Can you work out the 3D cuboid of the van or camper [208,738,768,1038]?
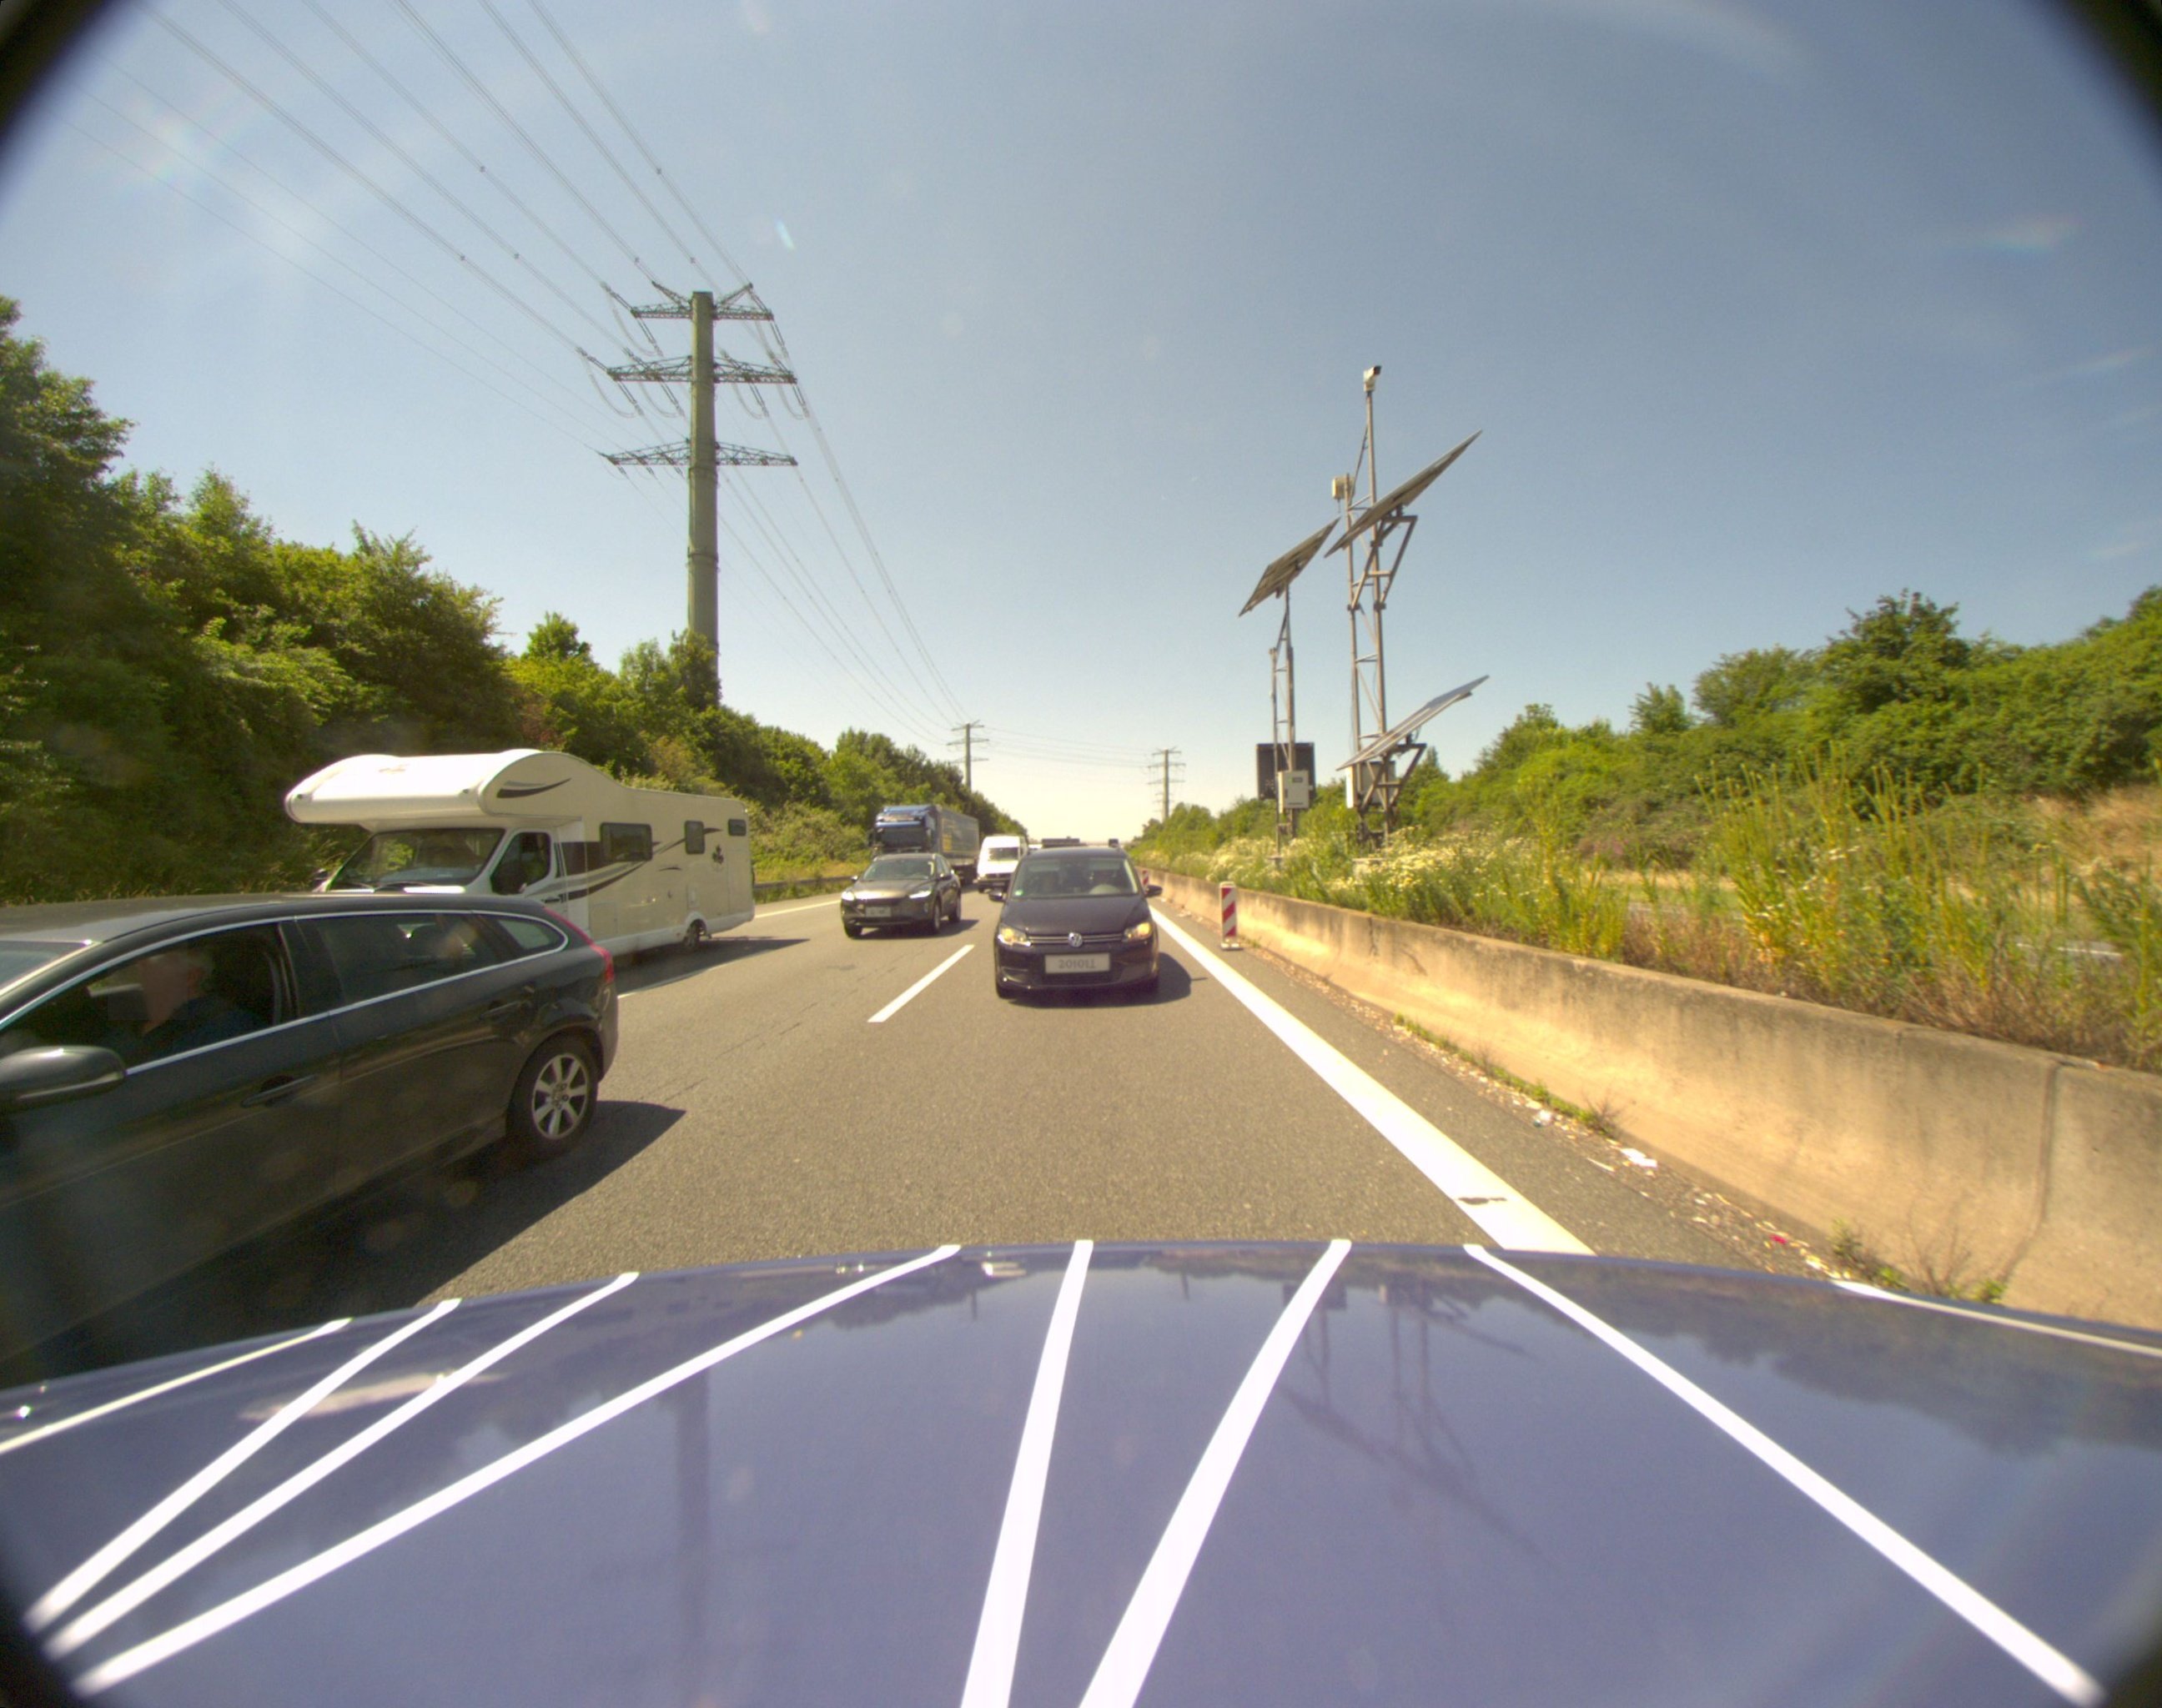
[{"bbox_3d":[-7.735,0.322,11.713,2.375,3.026,7.632,-2,1,1],"label":"van or camper"}]

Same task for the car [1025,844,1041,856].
[{"bbox_3d":[-6.468,-0.613,101.904,1.720,1.510,3.874,-2,1,1],"label":"car"}]

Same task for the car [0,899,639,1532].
[{"bbox_3d":[-3.658,1.045,2.383,1.799,1.411,4.509,-2,1,1],"label":"car"}]

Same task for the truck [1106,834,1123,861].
[{"bbox_3d":[4.313,-0.855,98.595,1.892,3.264,5.590,-2,1,1],"label":"truck"}]

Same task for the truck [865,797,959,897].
[{"bbox_3d":[-7.624,-0.331,34.983,2.792,4.121,5.636,-2,1,1],"label":"truck"}]

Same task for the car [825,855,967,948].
[{"bbox_3d":[-3.786,0.896,16.360,1.893,1.602,4.219,-2,1,1],"label":"car"}]

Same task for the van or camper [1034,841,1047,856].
[{"bbox_3d":[-7.193,-0.944,135.564,1.978,2.511,4.369,-2,1,1],"label":"van or camper"}]

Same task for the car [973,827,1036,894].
[{"bbox_3d":[-3.405,0.238,35.321,2.042,2.703,6.705,-2,1,1],"label":"car"}]

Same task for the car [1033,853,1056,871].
[{"bbox_3d":[-3.268,0.682,68.903,1.720,1.510,3.874,-2,1,1],"label":"car"}]

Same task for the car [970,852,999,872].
[{"bbox_3d":[-7.890,0.637,62.367,1.720,1.510,3.874,-2,1,1],"label":"car"}]

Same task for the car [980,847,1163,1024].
[{"bbox_3d":[-0.067,0.771,9.445,1.700,1.641,4.219,-2,1,1],"label":"car"}]

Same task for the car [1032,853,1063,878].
[{"bbox_3d":[-2.199,0.719,50.742,1.720,1.510,3.874,-2,1,1],"label":"car"}]

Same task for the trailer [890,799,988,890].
[{"bbox_3d":[-7.549,-0.509,42.689,2.774,4.239,12.877,-2,1,1],"label":"trailer"}]

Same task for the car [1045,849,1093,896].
[{"bbox_3d":[-0.416,0.683,30.146,1.700,1.641,4.219,-2,1,1],"label":"car"}]

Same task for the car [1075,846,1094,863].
[{"bbox_3d":[0.363,0.040,84.470,1.973,1.682,3.874,-2,1,1],"label":"car"}]

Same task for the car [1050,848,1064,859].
[{"bbox_3d":[-3.385,-0.059,108.325,1.720,1.510,3.874,-2,1,1],"label":"car"}]
